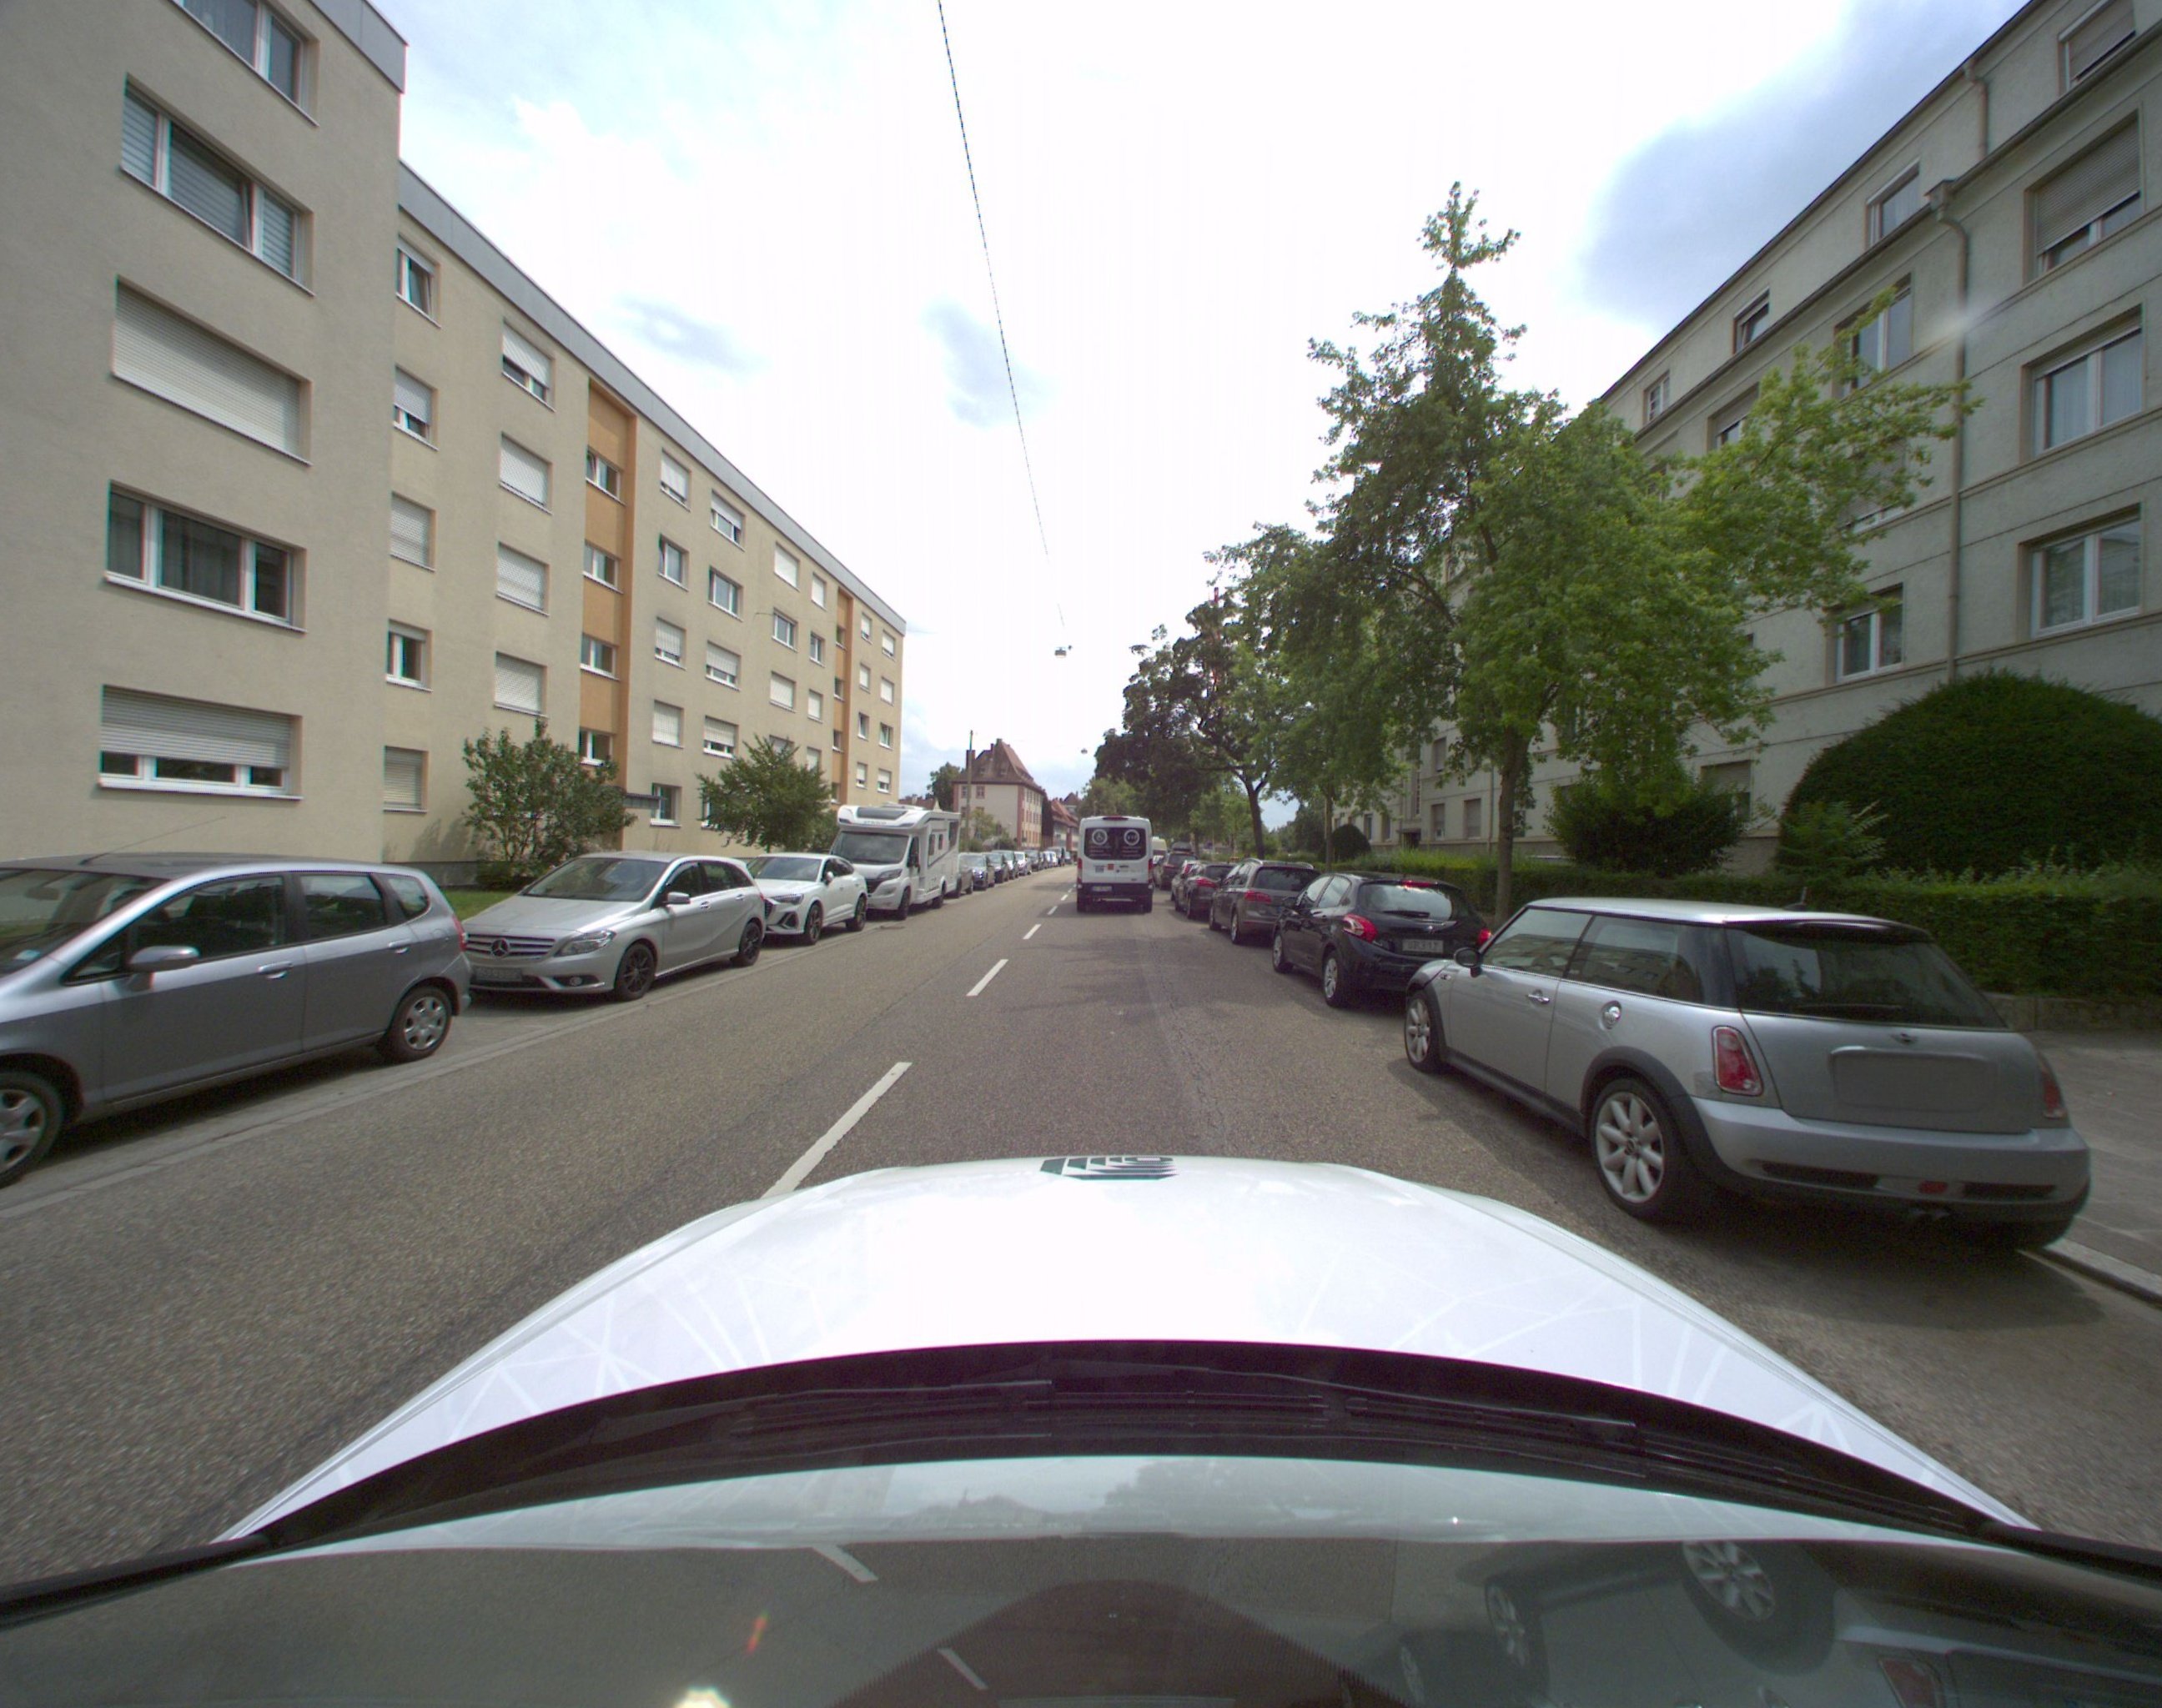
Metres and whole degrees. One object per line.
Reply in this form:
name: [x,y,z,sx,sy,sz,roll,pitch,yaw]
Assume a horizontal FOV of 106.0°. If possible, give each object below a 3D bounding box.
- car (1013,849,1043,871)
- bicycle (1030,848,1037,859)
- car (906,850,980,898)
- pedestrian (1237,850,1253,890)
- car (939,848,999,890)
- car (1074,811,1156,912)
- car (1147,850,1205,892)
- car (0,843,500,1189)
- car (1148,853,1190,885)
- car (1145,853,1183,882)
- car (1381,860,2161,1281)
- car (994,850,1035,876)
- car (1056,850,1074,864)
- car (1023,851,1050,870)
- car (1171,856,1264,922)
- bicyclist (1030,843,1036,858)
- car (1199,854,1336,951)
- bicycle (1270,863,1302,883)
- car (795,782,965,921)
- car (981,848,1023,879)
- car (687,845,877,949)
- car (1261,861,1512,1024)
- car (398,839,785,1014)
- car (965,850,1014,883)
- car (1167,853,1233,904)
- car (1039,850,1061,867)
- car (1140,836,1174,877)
car: [-3.989,0.434,61.846,1.778,1.543,3.864,2,0,3]
bicycle: [-5.120,-0.020,88.517,0.539,1.175,1.351,0,0,5]
car: [-4.828,0.648,29.020,1.682,1.496,4.595,2,0,1]
pedestrian: [7.618,0.732,37.740,0.524,1.828,0.520,0,0,-20]
car: [-4.666,0.572,34.528,1.880,1.579,5.216,2,0,-1]
car: [0.871,0.201,22.853,2.063,2.540,4.634,0,0,0]
car: [4.198,0.712,36.890,1.921,1.661,5.324,4,0,0]
car: [-5.789,0.730,4.857,1.717,1.539,4.005,1,1,1]
car: [4.505,0.749,42.059,1.706,1.464,4.001,4,0,1]
car: [4.696,0.722,46.608,1.675,1.469,4.555,4,0,0]
car: [3.320,0.840,4.961,1.653,1.469,3.727,1,1,1]
car: [-4.204,0.523,52.028,1.877,1.488,4.638,2,0,4]
car: [-1.811,0.340,95.586,1.778,1.482,3.864,2,0,3]
car: [-3.654,0.519,68.081,1.778,1.462,3.864,2,0,3]
car: [3.464,0.828,21.343,1.612,1.469,4.390,3,0,-1]
bicyclist: [-5.145,-0.389,88.194,0.533,1.585,0.692,0,0,5]
car: [3.548,0.841,16.275,1.654,1.582,4.285,4,0,0]
bicycle: [9.932,0.933,39.484,1.384,0.917,0.512,1,1,-11]
car: [-5.070,-0.070,22.103,2.501,3.024,7.398,2,0,1]
car: [-4.396,0.498,45.971,1.879,1.579,4.153,2,0,1]
car: [-5.297,0.674,15.170,1.682,1.579,4.595,2,0,1]
car: [3.439,0.886,9.966,1.653,1.469,3.891,1,1,1]
car: [-5.459,0.674,9.972,1.748,1.579,4.571,2,0,3]
car: [-4.527,0.588,40.941,1.735,1.496,4.787,2,0,1]
car: [3.807,0.748,26.559,1.653,1.456,4.038,3,0,2]
car: [-3.031,0.416,79.758,1.778,1.482,3.864,2,0,3]
car: [5.111,0.160,55.352,1.889,2.587,4.831,4,0,2]
